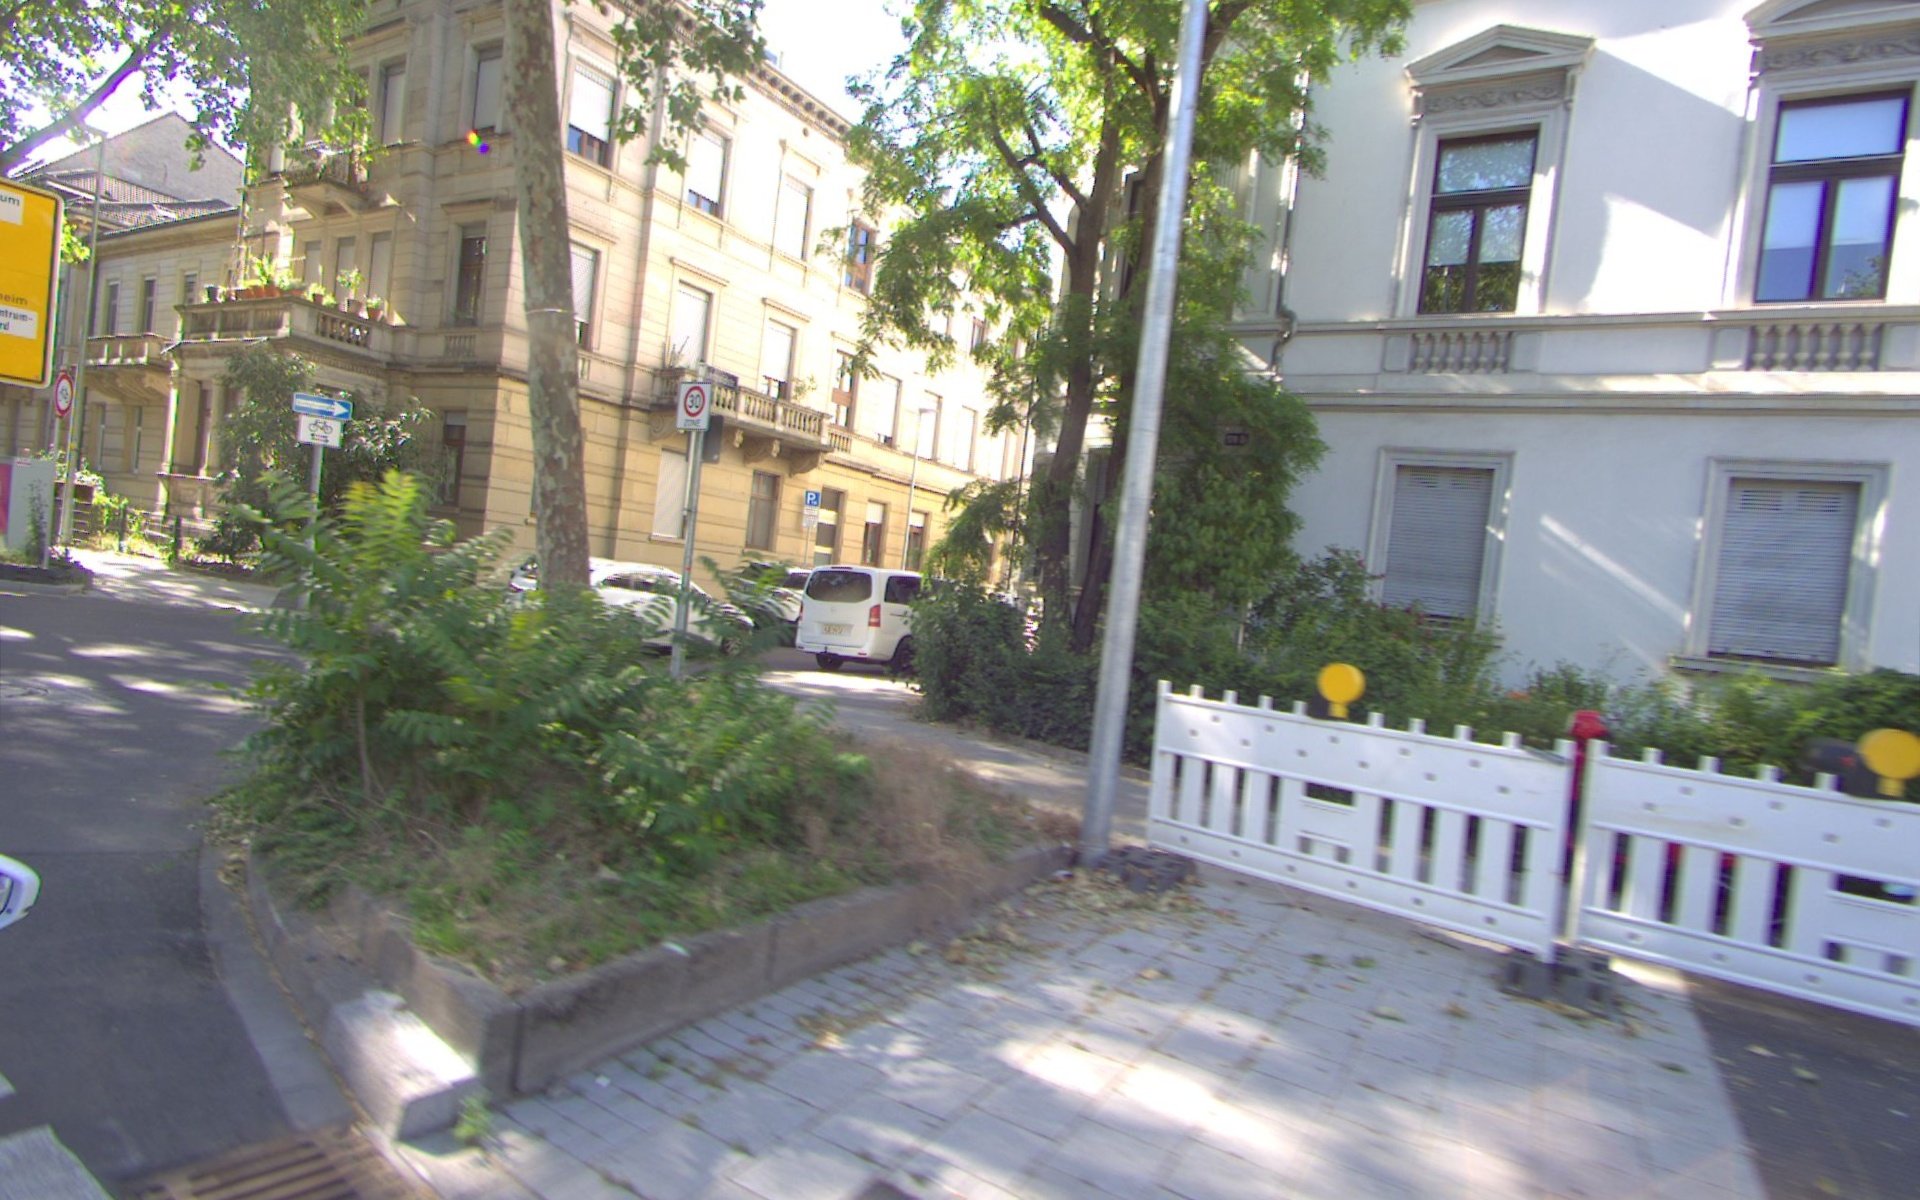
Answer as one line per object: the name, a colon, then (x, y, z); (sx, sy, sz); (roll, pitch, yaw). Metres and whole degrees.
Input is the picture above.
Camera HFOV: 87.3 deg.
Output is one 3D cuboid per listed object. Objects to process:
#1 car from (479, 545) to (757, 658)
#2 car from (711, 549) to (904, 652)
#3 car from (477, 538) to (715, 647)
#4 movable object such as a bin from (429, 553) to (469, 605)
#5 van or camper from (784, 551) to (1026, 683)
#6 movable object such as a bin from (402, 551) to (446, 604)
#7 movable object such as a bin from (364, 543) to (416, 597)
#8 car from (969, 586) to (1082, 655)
car: (-5.395, 0.102, 16.406); (1.808, 1.504, 4.050); (5, 0, 28)
car: (-3.628, 0.081, 24.776); (1.996, 2.039, 4.530); (7, 0, 34)
car: (-7.004, -0.089, 19.723); (1.842, 1.580, 3.933); (10, 1, 33)
movable object such as a bin: (-10.302, -0.422, 20.290); (0.392, 0.983, 0.519); (7, 2, 33)
van or camper: (-0.867, 0.436, 19.323); (1.869, 2.038, 5.020); (7, 0, 33)
movable object such as a bin: (-10.913, -0.453, 20.476); (0.539, 0.983, 0.519); (7, 2, 34)
movable object such as a bin: (-11.582, -0.607, 20.447); (0.539, 0.983, 0.687); (7, 1, 34)
car: (2.267, 0.733, 33.985); (1.721, 1.901, 4.077); (12, 3, 34)
